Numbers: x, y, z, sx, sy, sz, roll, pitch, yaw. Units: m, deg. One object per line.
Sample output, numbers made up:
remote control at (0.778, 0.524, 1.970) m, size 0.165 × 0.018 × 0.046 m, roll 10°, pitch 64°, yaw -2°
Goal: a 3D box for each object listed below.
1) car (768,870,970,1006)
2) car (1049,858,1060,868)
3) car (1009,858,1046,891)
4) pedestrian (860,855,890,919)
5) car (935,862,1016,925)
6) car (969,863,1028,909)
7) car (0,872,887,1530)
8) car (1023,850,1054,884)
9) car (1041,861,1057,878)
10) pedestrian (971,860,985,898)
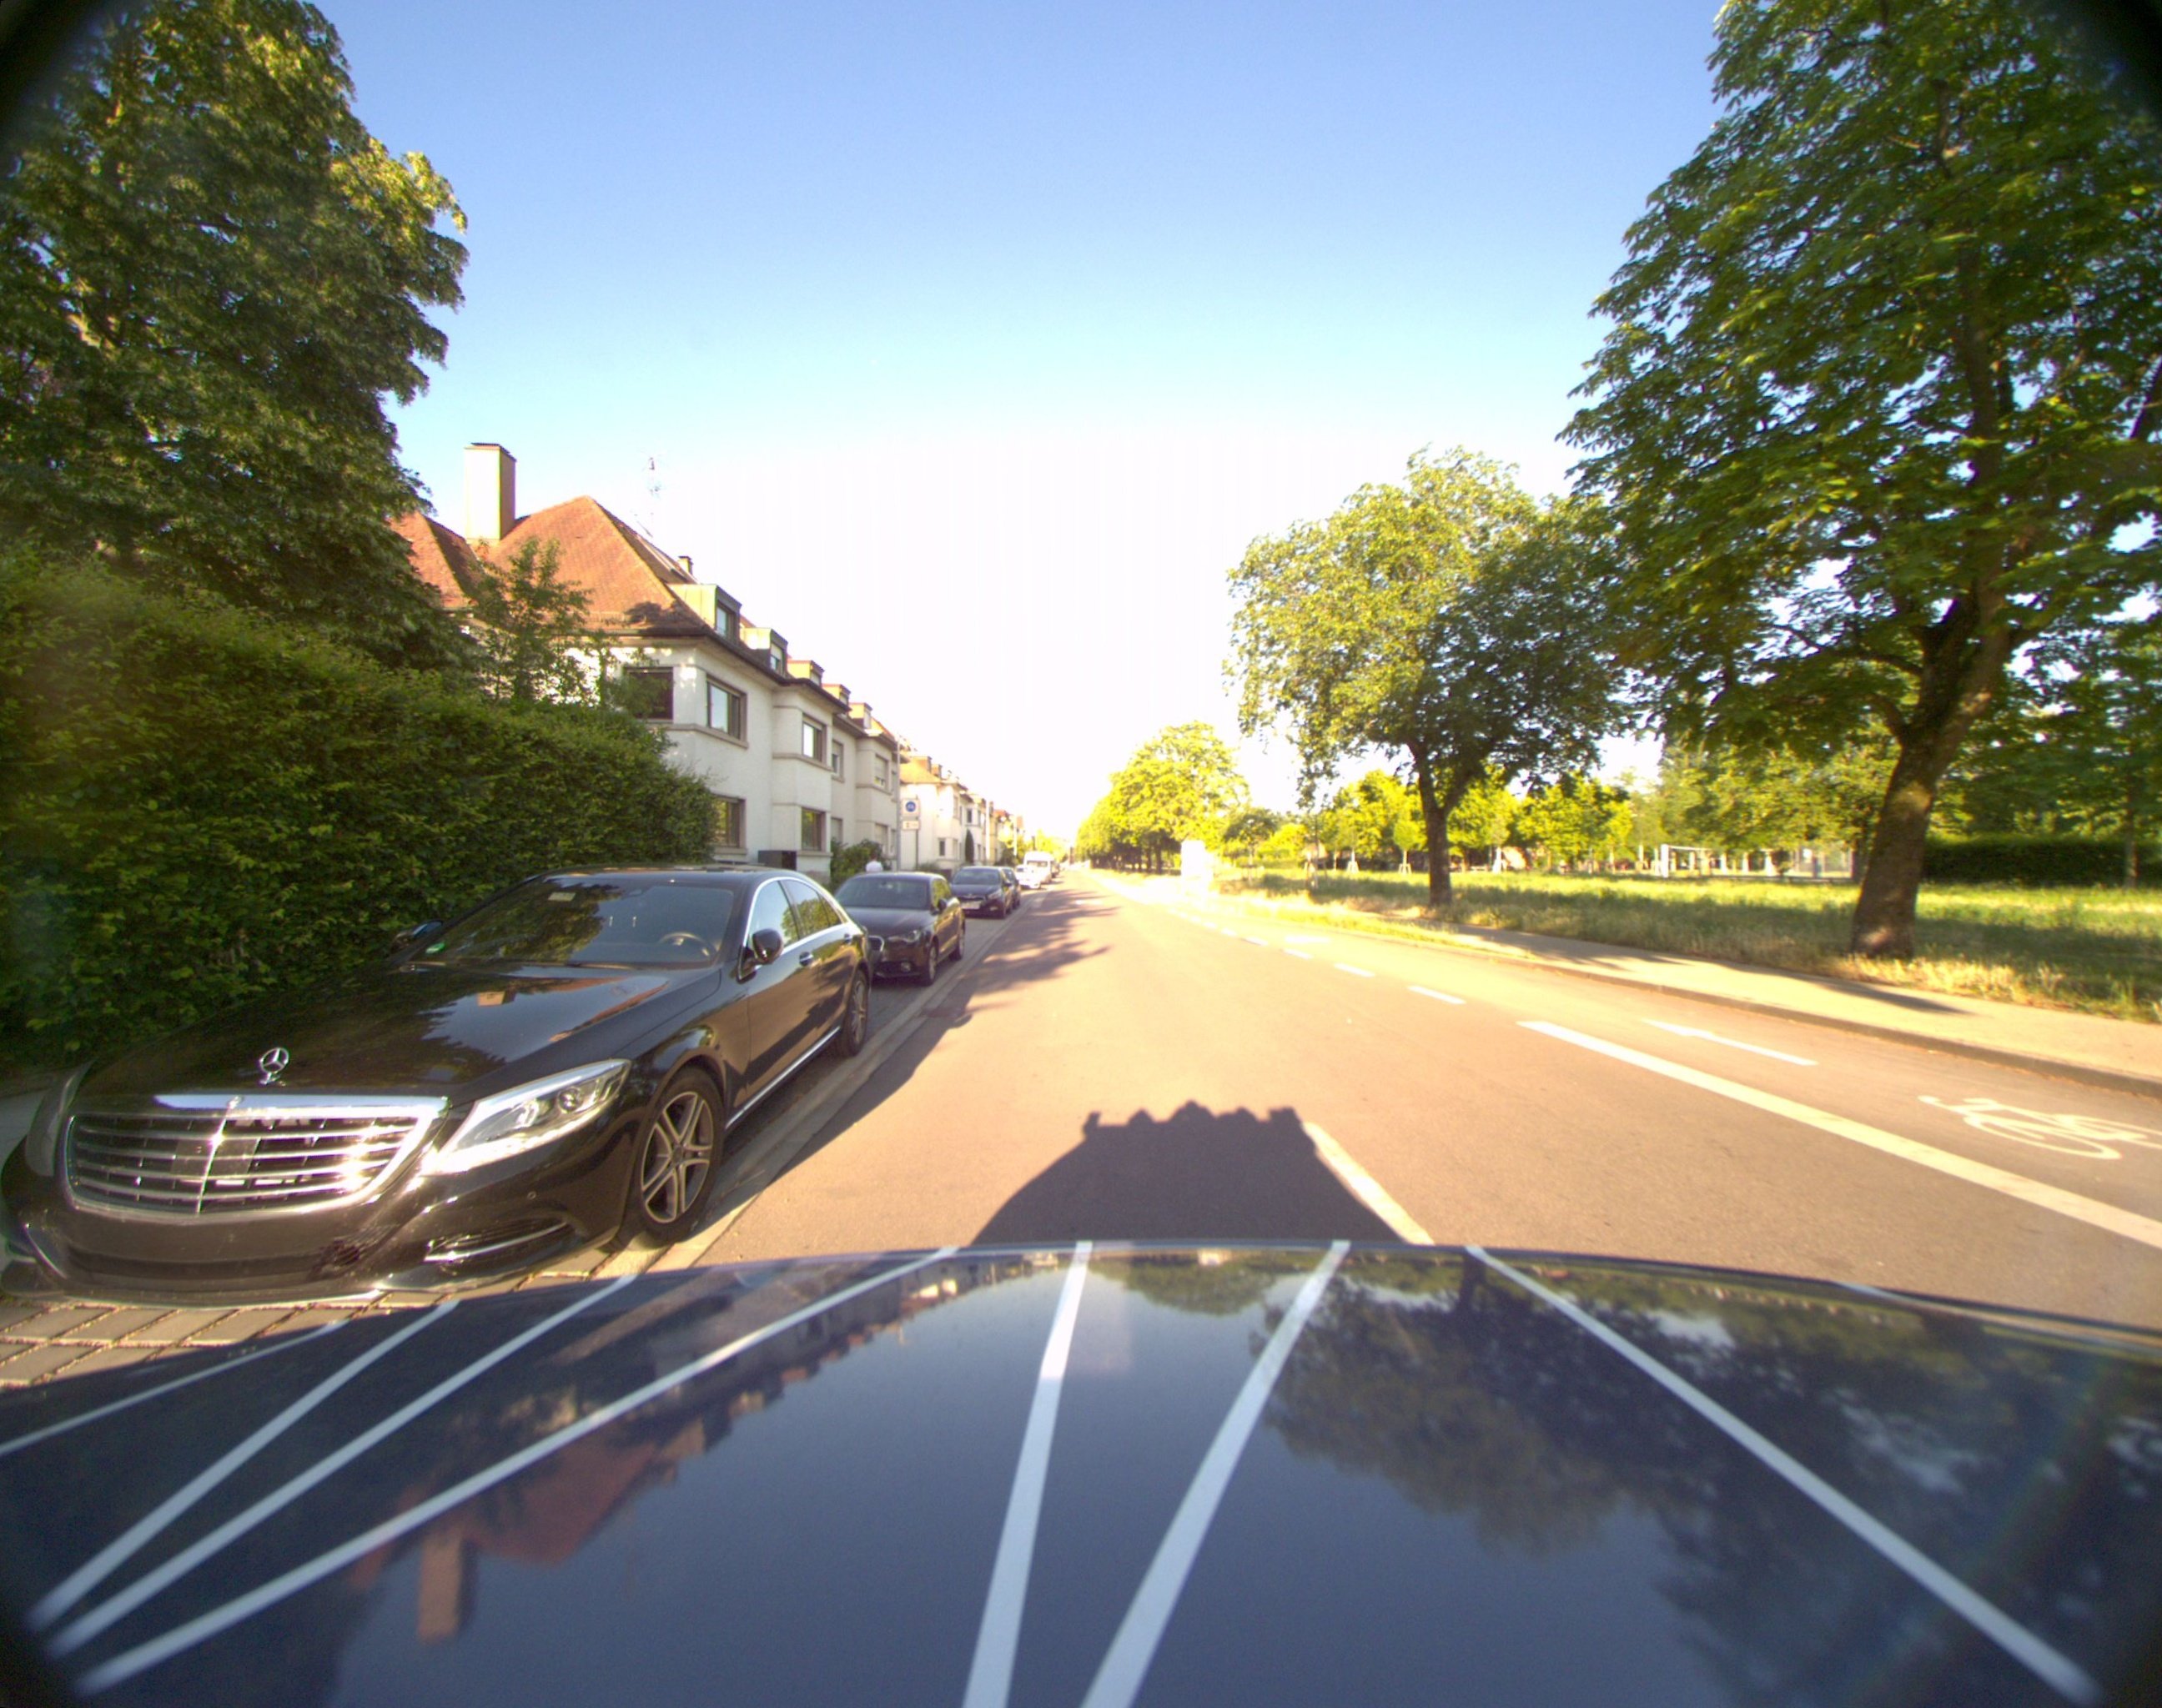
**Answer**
car at (-2.744, 1.012, 10.796) m, size 1.784 × 1.469 × 4.000 m, roll -2°, pitch -1°, yaw -1°
car at (-4.081, 1.365, 117.178) m, size 1.682 × 1.543 × 3.842 m, roll 1°, pitch 0°, yaw -3°
car at (-3.239, 1.206, 46.684) m, size 1.999 × 1.775 × 3.999 m, roll -2°, pitch 1°, yaw -1°
pedestrian at (-6.068, 0.950, 22.420) m, size 0.587 × 1.835 × 0.823 m, roll -2°, pitch 1°, yaw 1°
car at (-2.944, 1.077, 21.986) m, size 1.796 × 1.586 × 4.077 m, roll -2°, pitch -1°, yaw -1°
car at (-2.932, 1.114, 27.590) m, size 1.680 × 1.525 × 3.472 m, roll -2°, pitch -1°, yaw 1°
car at (-2.611, 0.903, 4.287) m, size 2.009 × 1.489 × 4.914 m, roll 1°, pitch 0°, yaw -3°
car at (-3.300, 0.945, 59.837) m, size 2.132 × 2.461 × 5.723 m, roll -2°, pitch 1°, yaw -1°
car at (-3.706, 1.832, 88.953) m, size 1.708 × 1.848 × 3.712 m, roll -2°, pitch 1°, yaw 0°
pedestrian at (-4.915, 1.187, 36.178) m, size 0.531 × 1.787 × 0.589 m, roll -2°, pitch 1°, yaw -2°
